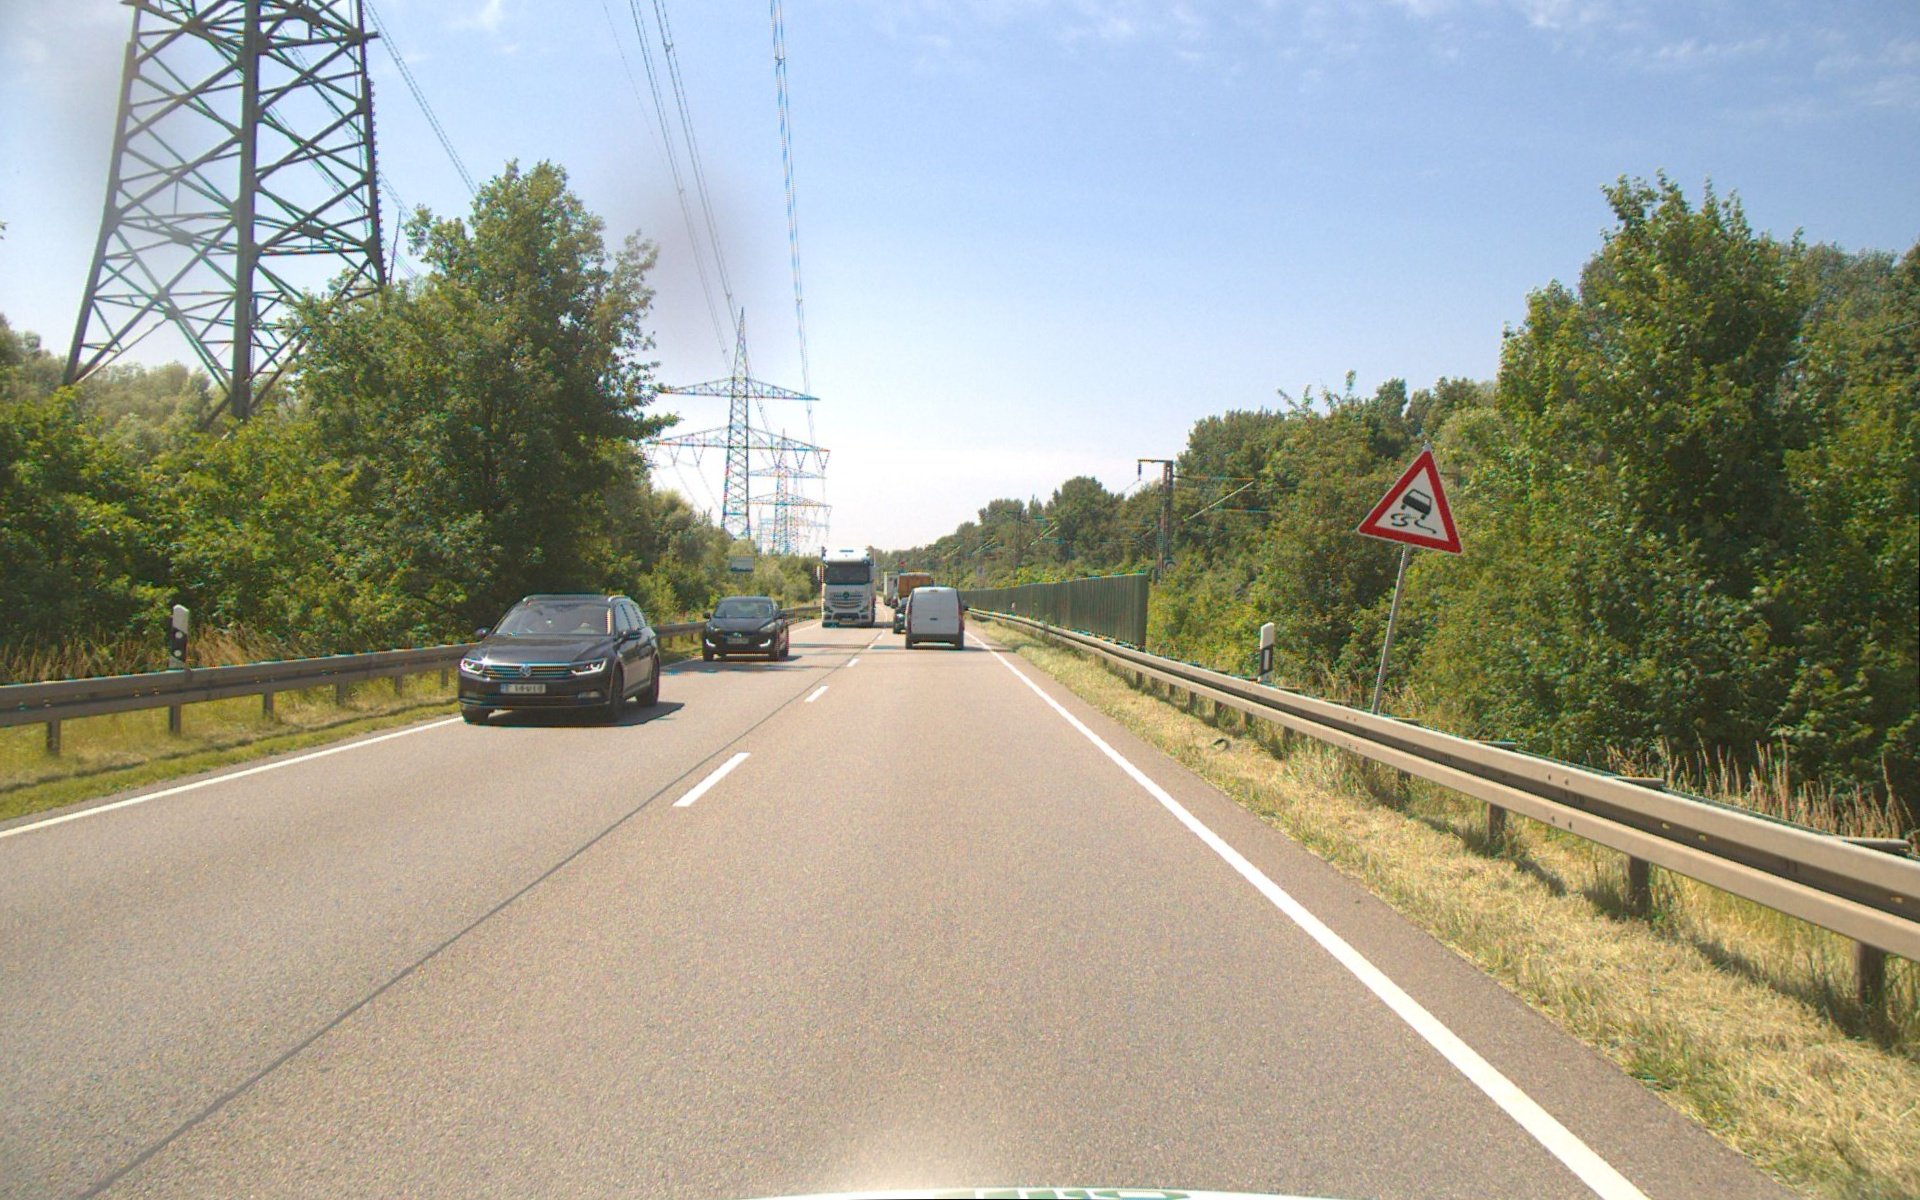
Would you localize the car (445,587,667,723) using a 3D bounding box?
[{"bbox_3d":[-4.909,0.611,20.661,1.807,1.523,4.000,1,0,0],"label":"car"}]

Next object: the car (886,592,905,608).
[{"bbox_3d":[-6.724,-0.009,173.793,1.953,1.553,3.998,1,0,-2],"label":"car"}]

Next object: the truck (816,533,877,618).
[{"bbox_3d":[-5.775,-1.219,85.437,2.687,4.113,9.661,0,0,-2],"label":"truck"}]

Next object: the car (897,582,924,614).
[{"bbox_3d":[-3.423,-0.132,113.595,1.728,2.048,3.998,3,0,-2],"label":"car"}]

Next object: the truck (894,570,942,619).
[{"bbox_3d":[-3.265,-0.545,125.072,3.231,3.226,14.399,4,1,-2],"label":"truck"}]

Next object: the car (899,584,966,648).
[{"bbox_3d":[-0.873,0.444,49.584,1.838,1.772,3.998,2,0,-2],"label":"car"}]

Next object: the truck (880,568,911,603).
[{"bbox_3d":[-8.116,-1.907,206.769,3.335,3.921,16.808,4,1,-3],"label":"truck"}]

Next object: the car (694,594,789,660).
[{"bbox_3d":[-5.184,0.604,39.744,1.764,1.480,4.000,1,0,0],"label":"car"}]
